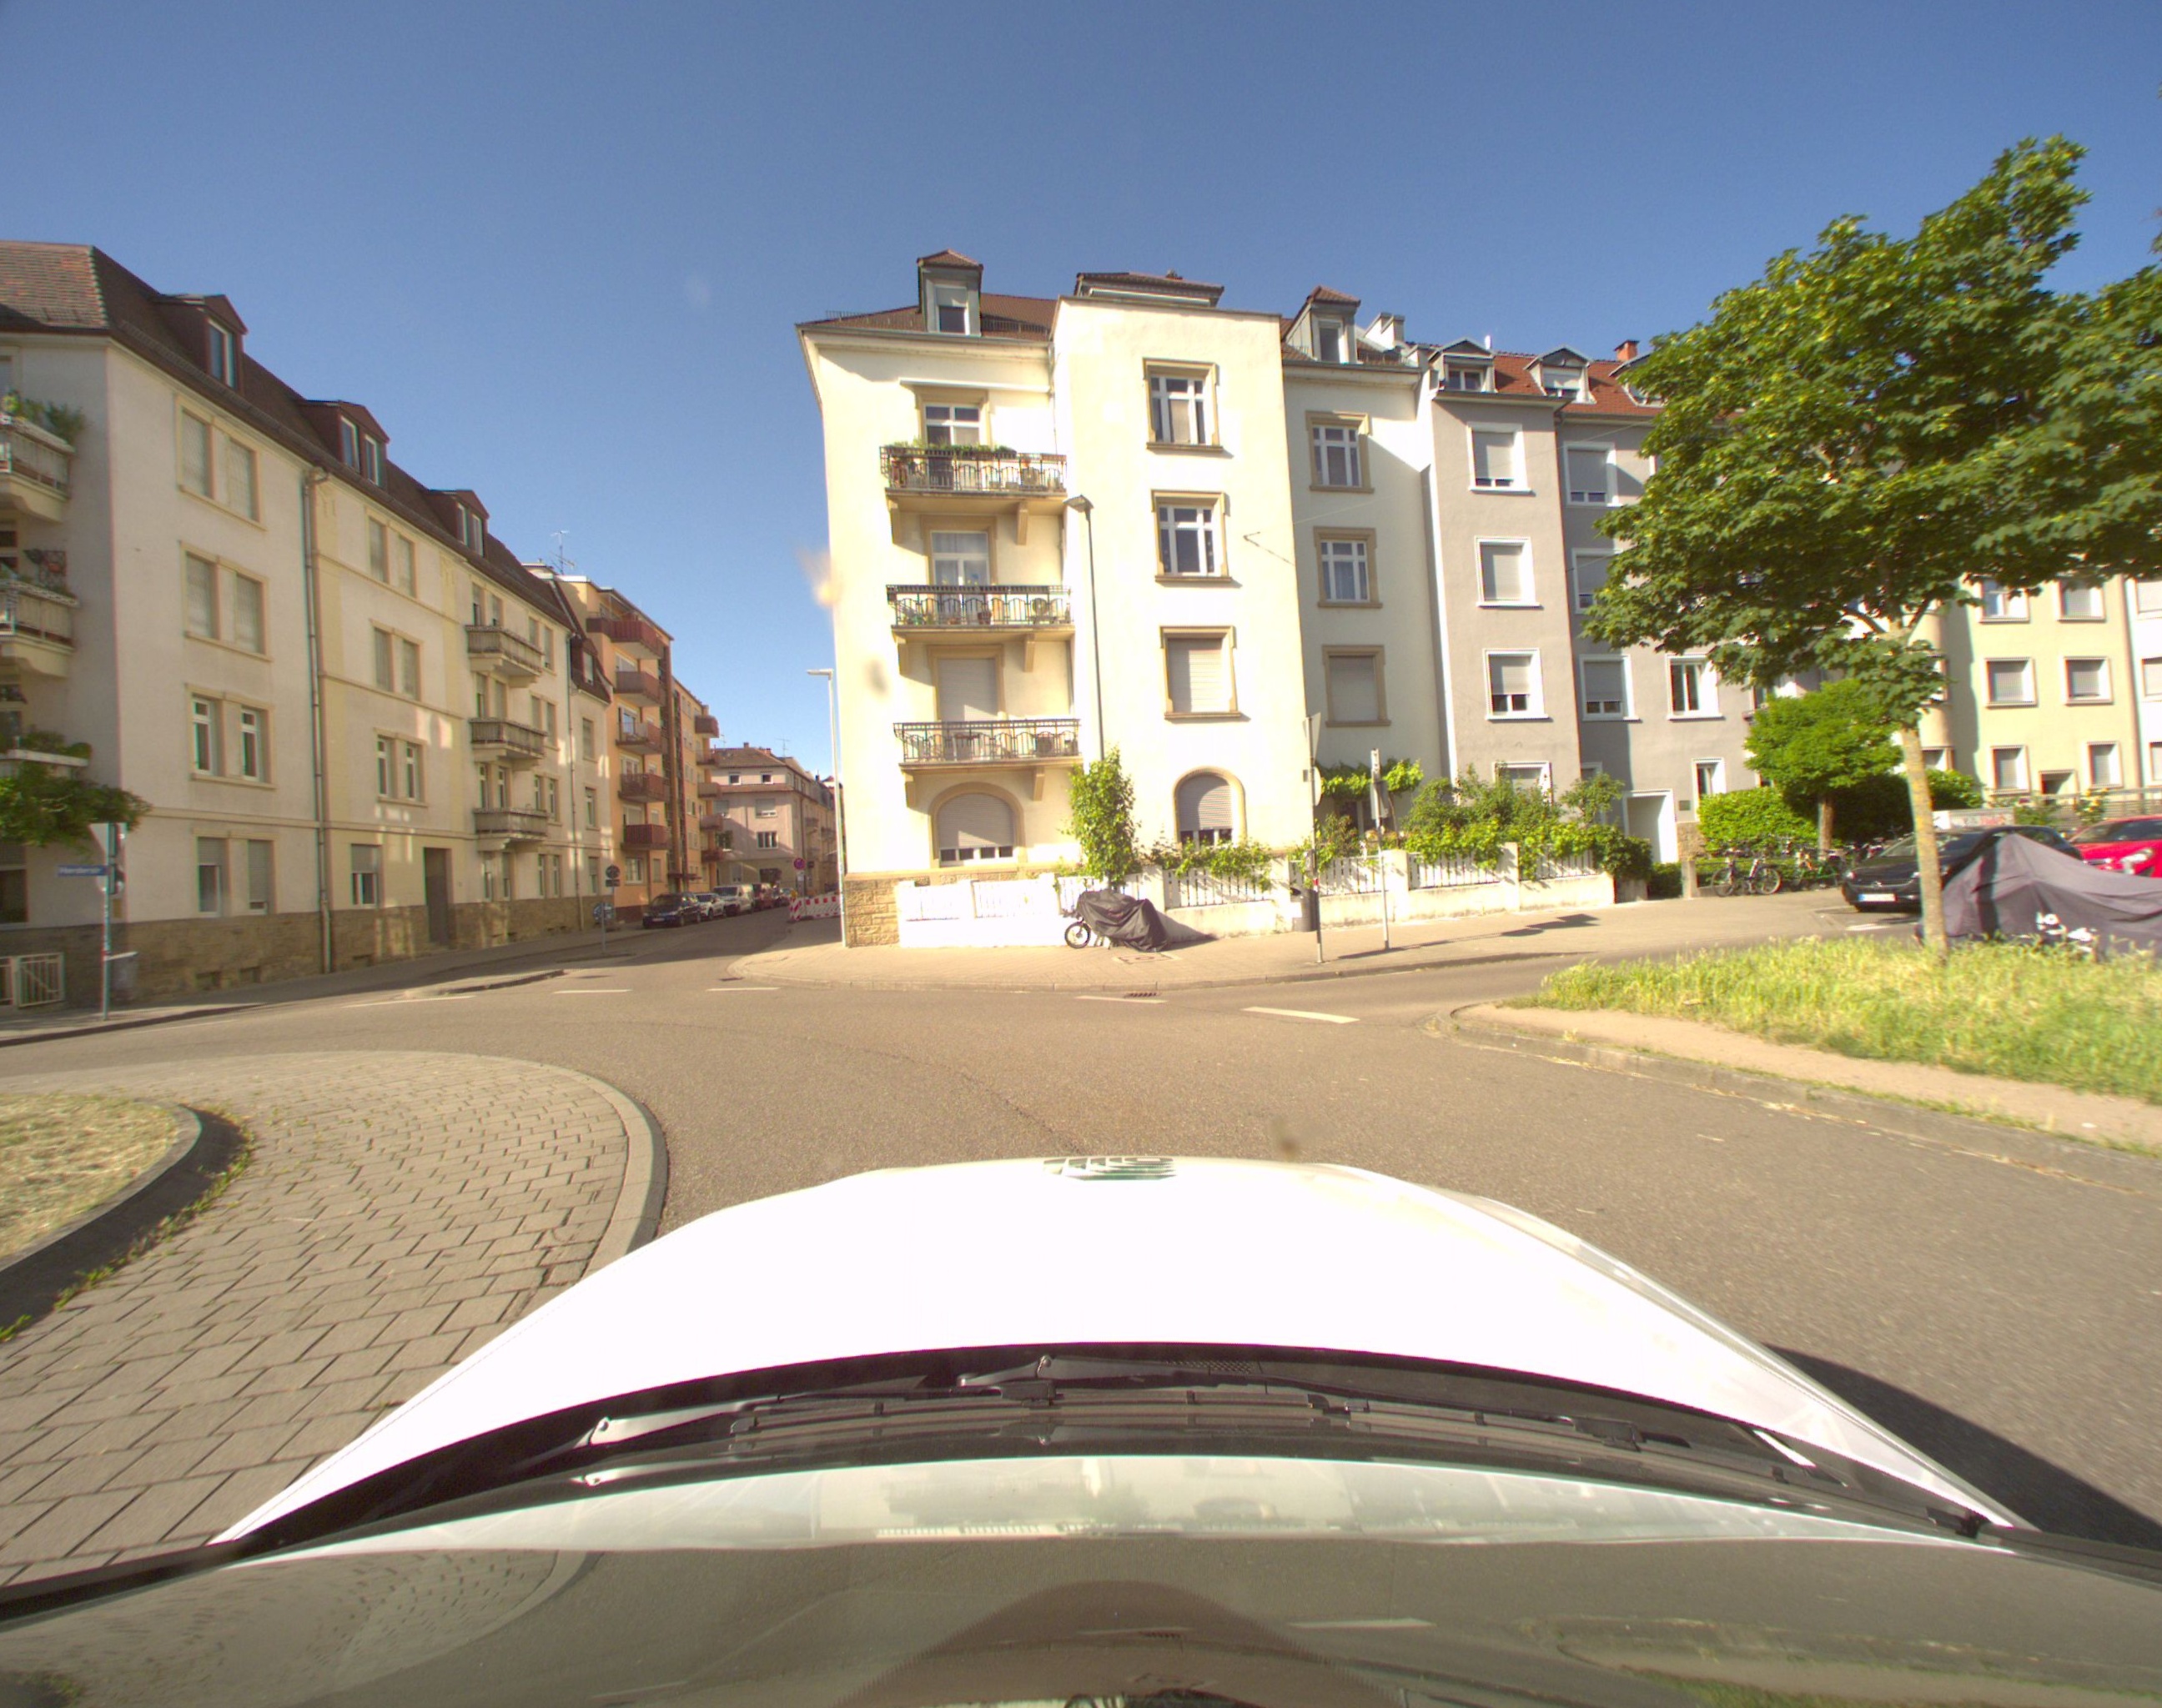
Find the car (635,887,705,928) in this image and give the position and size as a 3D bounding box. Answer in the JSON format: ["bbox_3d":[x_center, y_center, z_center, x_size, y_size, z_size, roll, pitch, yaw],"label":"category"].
[{"bbox_3d":[-19.951,2.551,39.747,1.762,1.771,4.280,-2,-1,-9],"label":"car"}]

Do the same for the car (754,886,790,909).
[{"bbox_3d":[-23.495,3.280,61.953,1.763,1.502,3.985,-4,-1,-10],"label":"car"}]

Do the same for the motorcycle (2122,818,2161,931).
[{"bbox_3d":[12.526,0.187,8.440,0.887,1.236,1.887,-3,-1,-11],"label":"motorcycle"}]

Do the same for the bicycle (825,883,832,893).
[{"bbox_3d":[-33.884,4.512,109.424,0.540,1.301,1.861,-2,-1,-8],"label":"bicycle"}]

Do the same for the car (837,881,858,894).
[{"bbox_3d":[-29.979,4.261,104.714,2.003,1.582,4.471,-1,-2,-10],"label":"car"}]

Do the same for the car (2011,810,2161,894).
[{"bbox_3d":[20.886,-0.096,16.044,3.846,1.445,1.745,-3,-1,-14],"label":"car"}]

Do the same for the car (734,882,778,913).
[{"bbox_3d":[-22.604,2.983,56.762,1.762,1.925,4.918,-2,-1,-9],"label":"car"}]

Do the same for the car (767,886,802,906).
[{"bbox_3d":[-24.288,3.409,66.756,1.762,1.377,4.465,-2,-1,-8],"label":"car"}]

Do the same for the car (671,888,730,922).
[{"bbox_3d":[-20.903,2.759,44.912,1.762,1.621,4.280,-2,-1,-9],"label":"car"}]

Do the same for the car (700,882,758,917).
[{"bbox_3d":[-21.653,2.752,50.374,1.975,1.925,5.291,-2,-1,-9],"label":"car"}]

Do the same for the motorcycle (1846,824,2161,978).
[{"bbox_3d":[9.331,0.399,7.740,1.126,1.267,2.768,-3,-1,-16],"label":"motorcycle"}]

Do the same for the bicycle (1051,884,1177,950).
[{"bbox_3d":[0.608,1.187,15.415,2.256,1.157,0.771,-3,-2,33],"label":"bicycle"}]

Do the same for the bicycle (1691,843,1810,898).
[{"bbox_3d":[14.992,0.361,18.249,2.248,1.059,0.681,-4,-1,-9],"label":"bicycle"}]

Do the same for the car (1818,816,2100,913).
[{"bbox_3d":[16.051,0.200,14.953,3.948,1.445,1.745,-3,-3,-14],"label":"car"}]

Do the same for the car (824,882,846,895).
[{"bbox_3d":[-28.443,4.031,94.284,1.678,1.427,4.262,-1,-2,-7],"label":"car"}]

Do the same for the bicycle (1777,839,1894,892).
[{"bbox_3d":[17.400,0.261,18.802,2.248,1.059,0.681,-4,-1,-9],"label":"bicycle"}]

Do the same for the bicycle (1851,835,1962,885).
[{"bbox_3d":[20.355,0.152,20.096,2.248,1.059,0.681,-4,-1,-9],"label":"bicycle"}]
